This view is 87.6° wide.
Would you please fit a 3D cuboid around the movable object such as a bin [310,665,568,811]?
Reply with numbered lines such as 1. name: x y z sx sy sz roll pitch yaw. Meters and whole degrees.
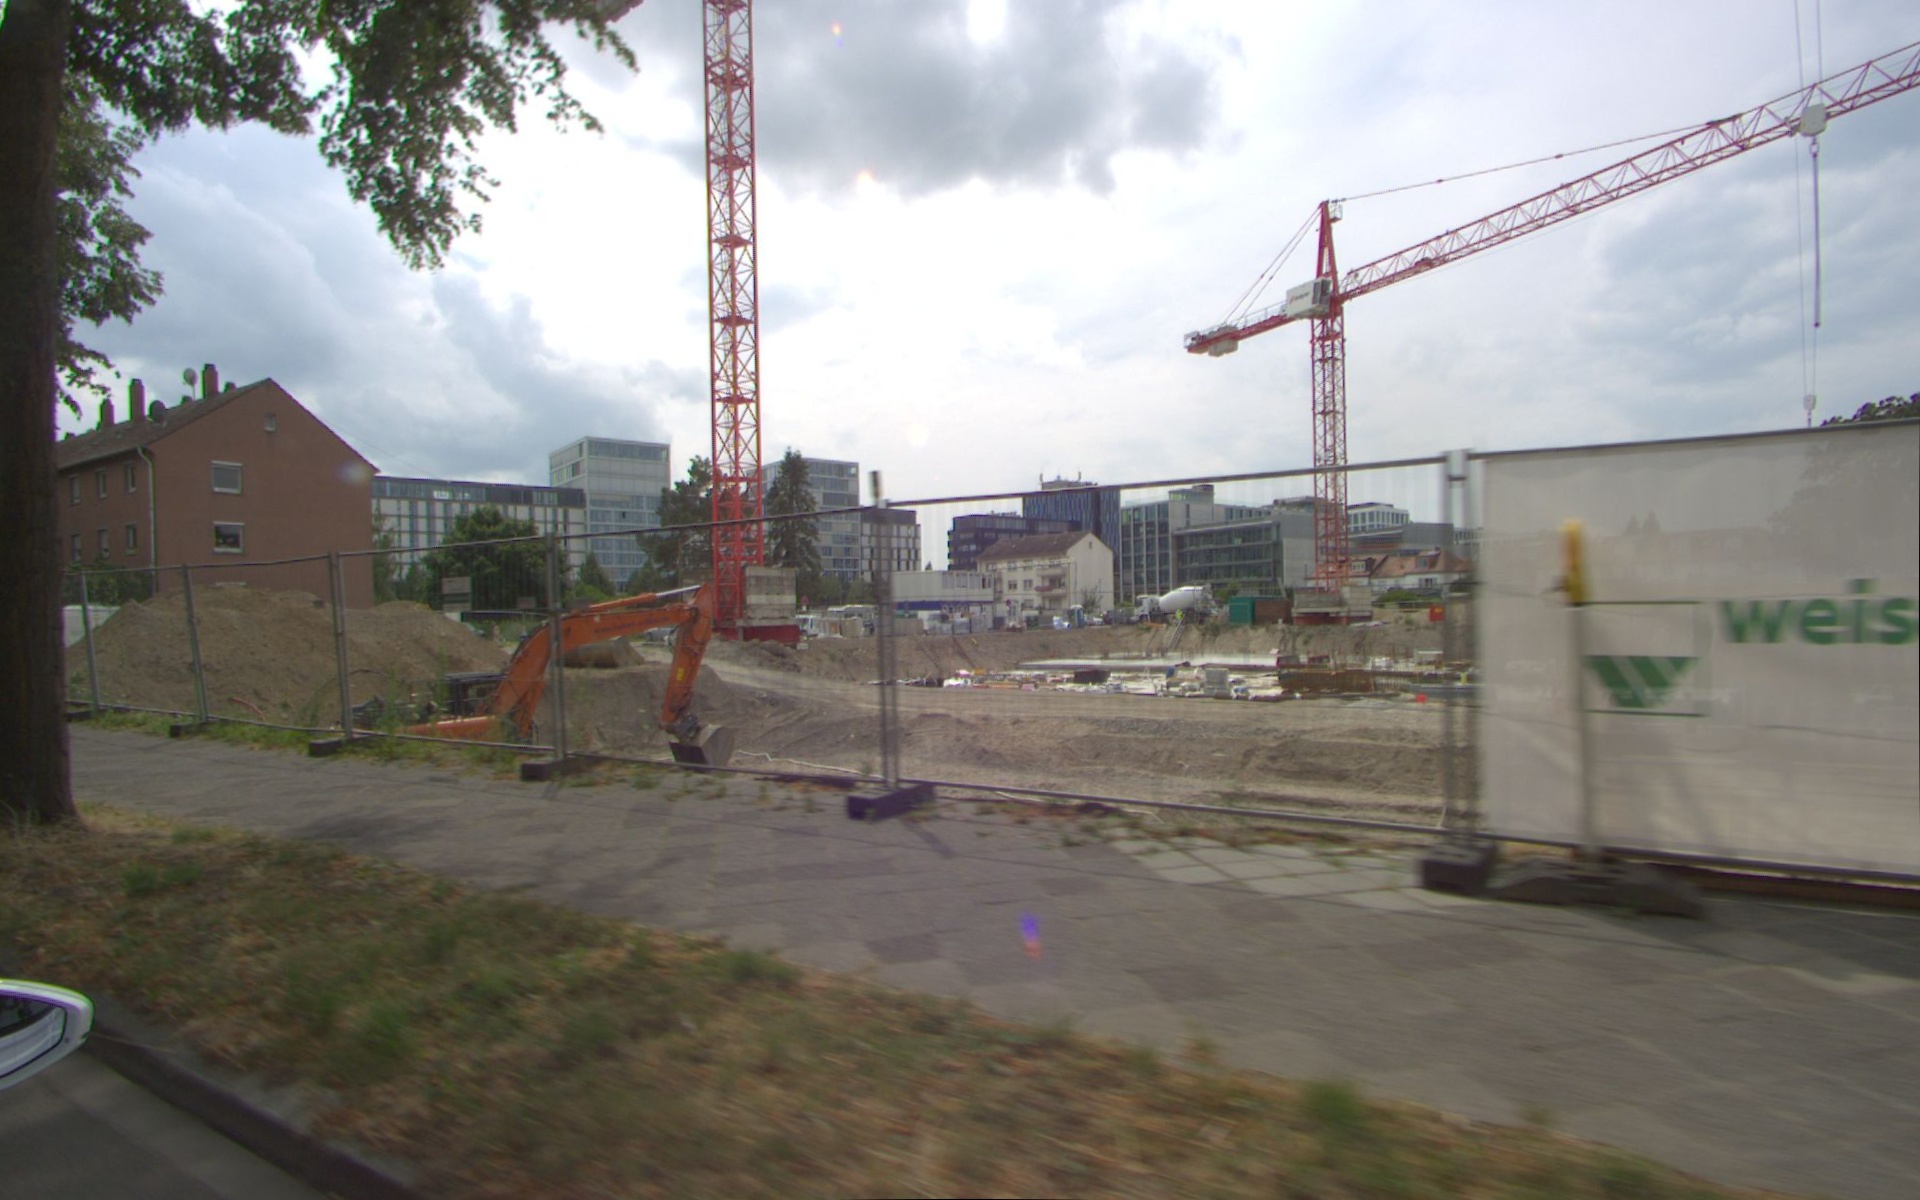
1. movable object such as a bin: -12.214 3.047 23.589 4.650 2.624 3.103 -2 1 -44

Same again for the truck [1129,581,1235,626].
1. truck: 22.331 0.411 101.244 10.159 4.188 3.320 -1 1 44

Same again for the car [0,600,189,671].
1. car: -35.250 1.333 40.969 2.303 2.668 5.458 1 1 34
